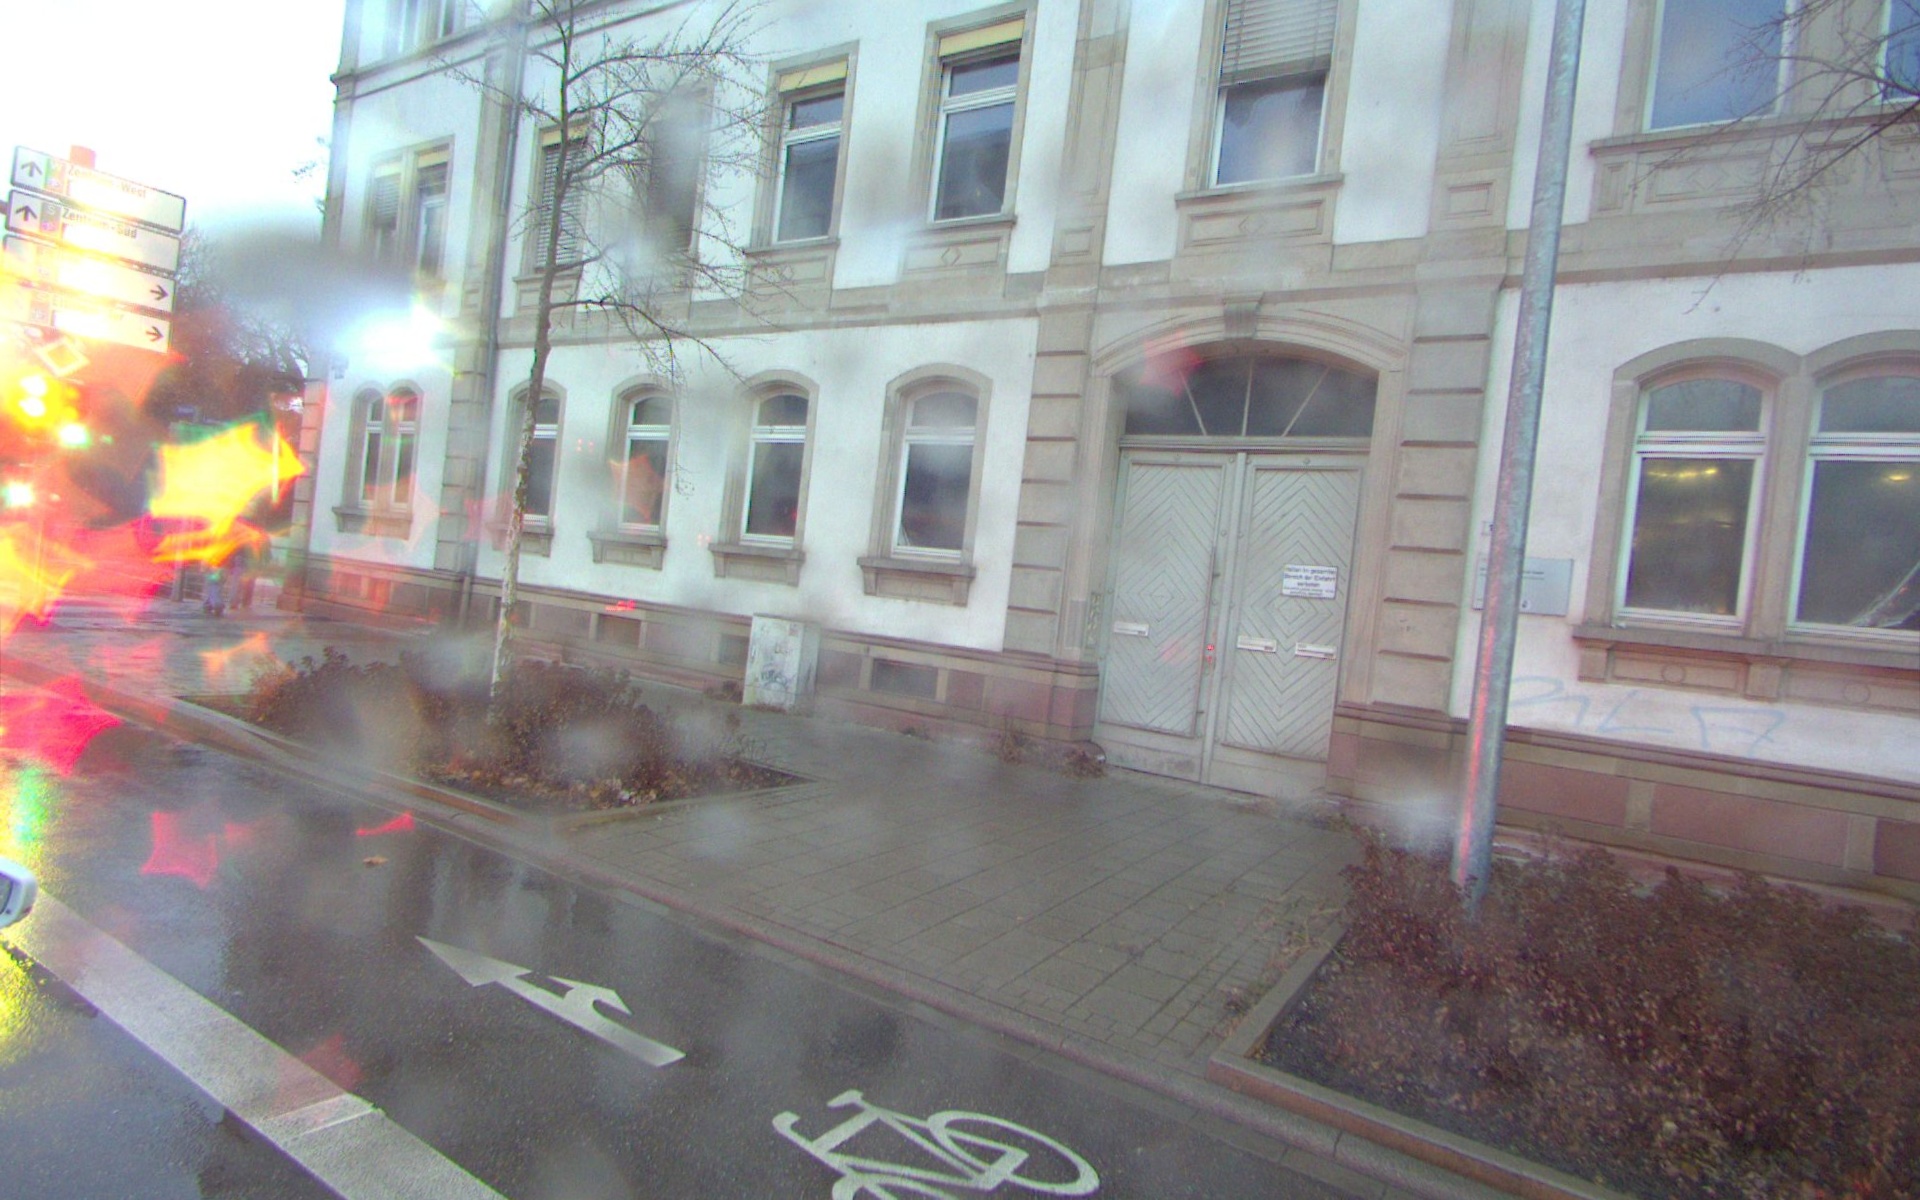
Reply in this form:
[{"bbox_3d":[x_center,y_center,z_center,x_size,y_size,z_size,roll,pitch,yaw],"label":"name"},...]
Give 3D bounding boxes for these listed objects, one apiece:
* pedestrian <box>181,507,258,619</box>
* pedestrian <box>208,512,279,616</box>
[{"bbox_3d":[-11.550,-0.578,15.686,0.778,1.597,1.000,8,-1,-39],"label":"pedestrian"},{"bbox_3d":[-12.416,-0.623,17.455,0.776,1.651,1.003,8,-1,-33],"label":"pedestrian"}]
